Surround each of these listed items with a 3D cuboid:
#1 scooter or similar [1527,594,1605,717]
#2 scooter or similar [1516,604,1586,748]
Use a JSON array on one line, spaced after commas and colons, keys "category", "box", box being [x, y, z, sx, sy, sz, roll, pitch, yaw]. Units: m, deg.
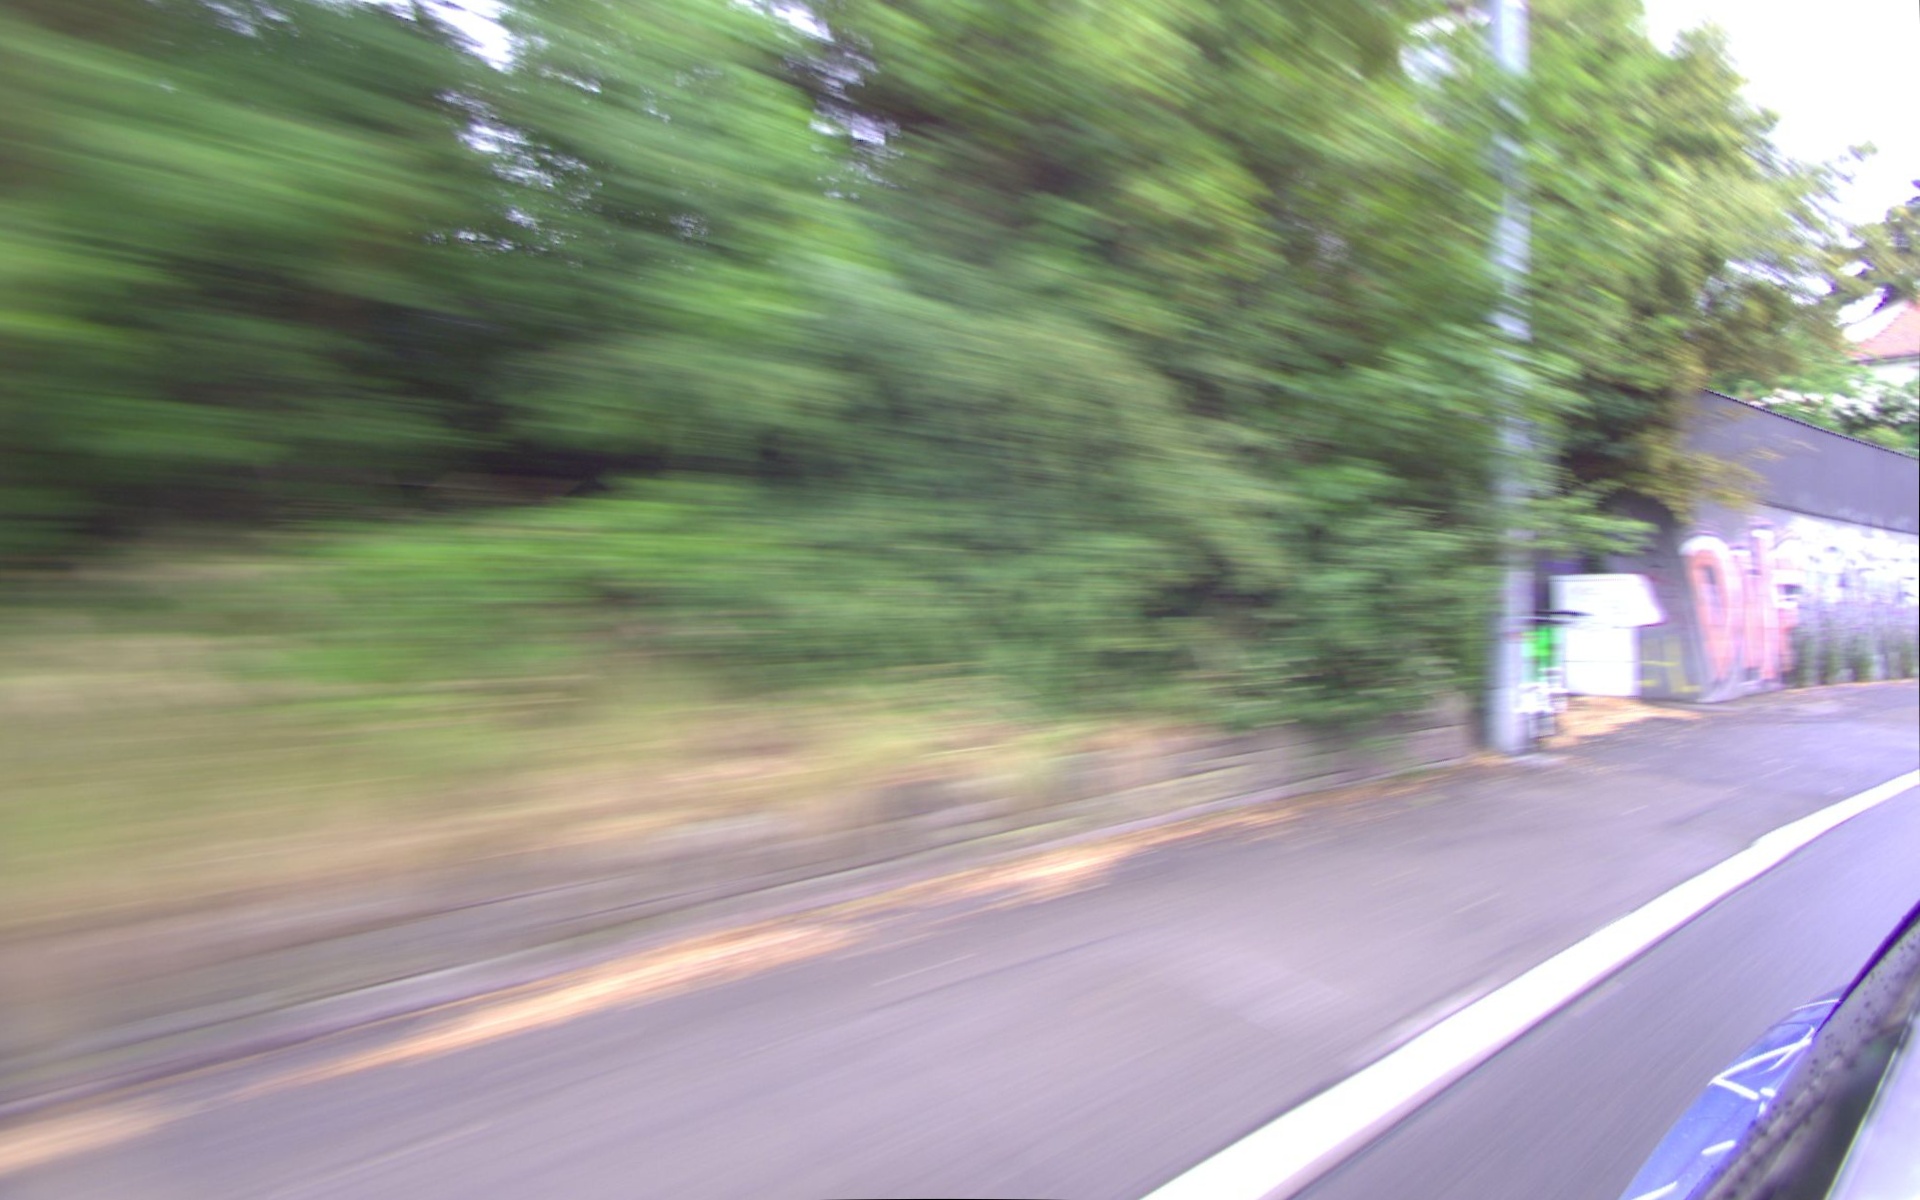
[{"category": "scooter or similar", "box": [6.373, 0.542, 10.686, 0.342, 1.130, 1.415, 3, 4, 18]}, {"category": "scooter or similar", "box": [5.314, 0.636, 9.146, 0.343, 1.130, 1.411, 3, 3, 24]}]
